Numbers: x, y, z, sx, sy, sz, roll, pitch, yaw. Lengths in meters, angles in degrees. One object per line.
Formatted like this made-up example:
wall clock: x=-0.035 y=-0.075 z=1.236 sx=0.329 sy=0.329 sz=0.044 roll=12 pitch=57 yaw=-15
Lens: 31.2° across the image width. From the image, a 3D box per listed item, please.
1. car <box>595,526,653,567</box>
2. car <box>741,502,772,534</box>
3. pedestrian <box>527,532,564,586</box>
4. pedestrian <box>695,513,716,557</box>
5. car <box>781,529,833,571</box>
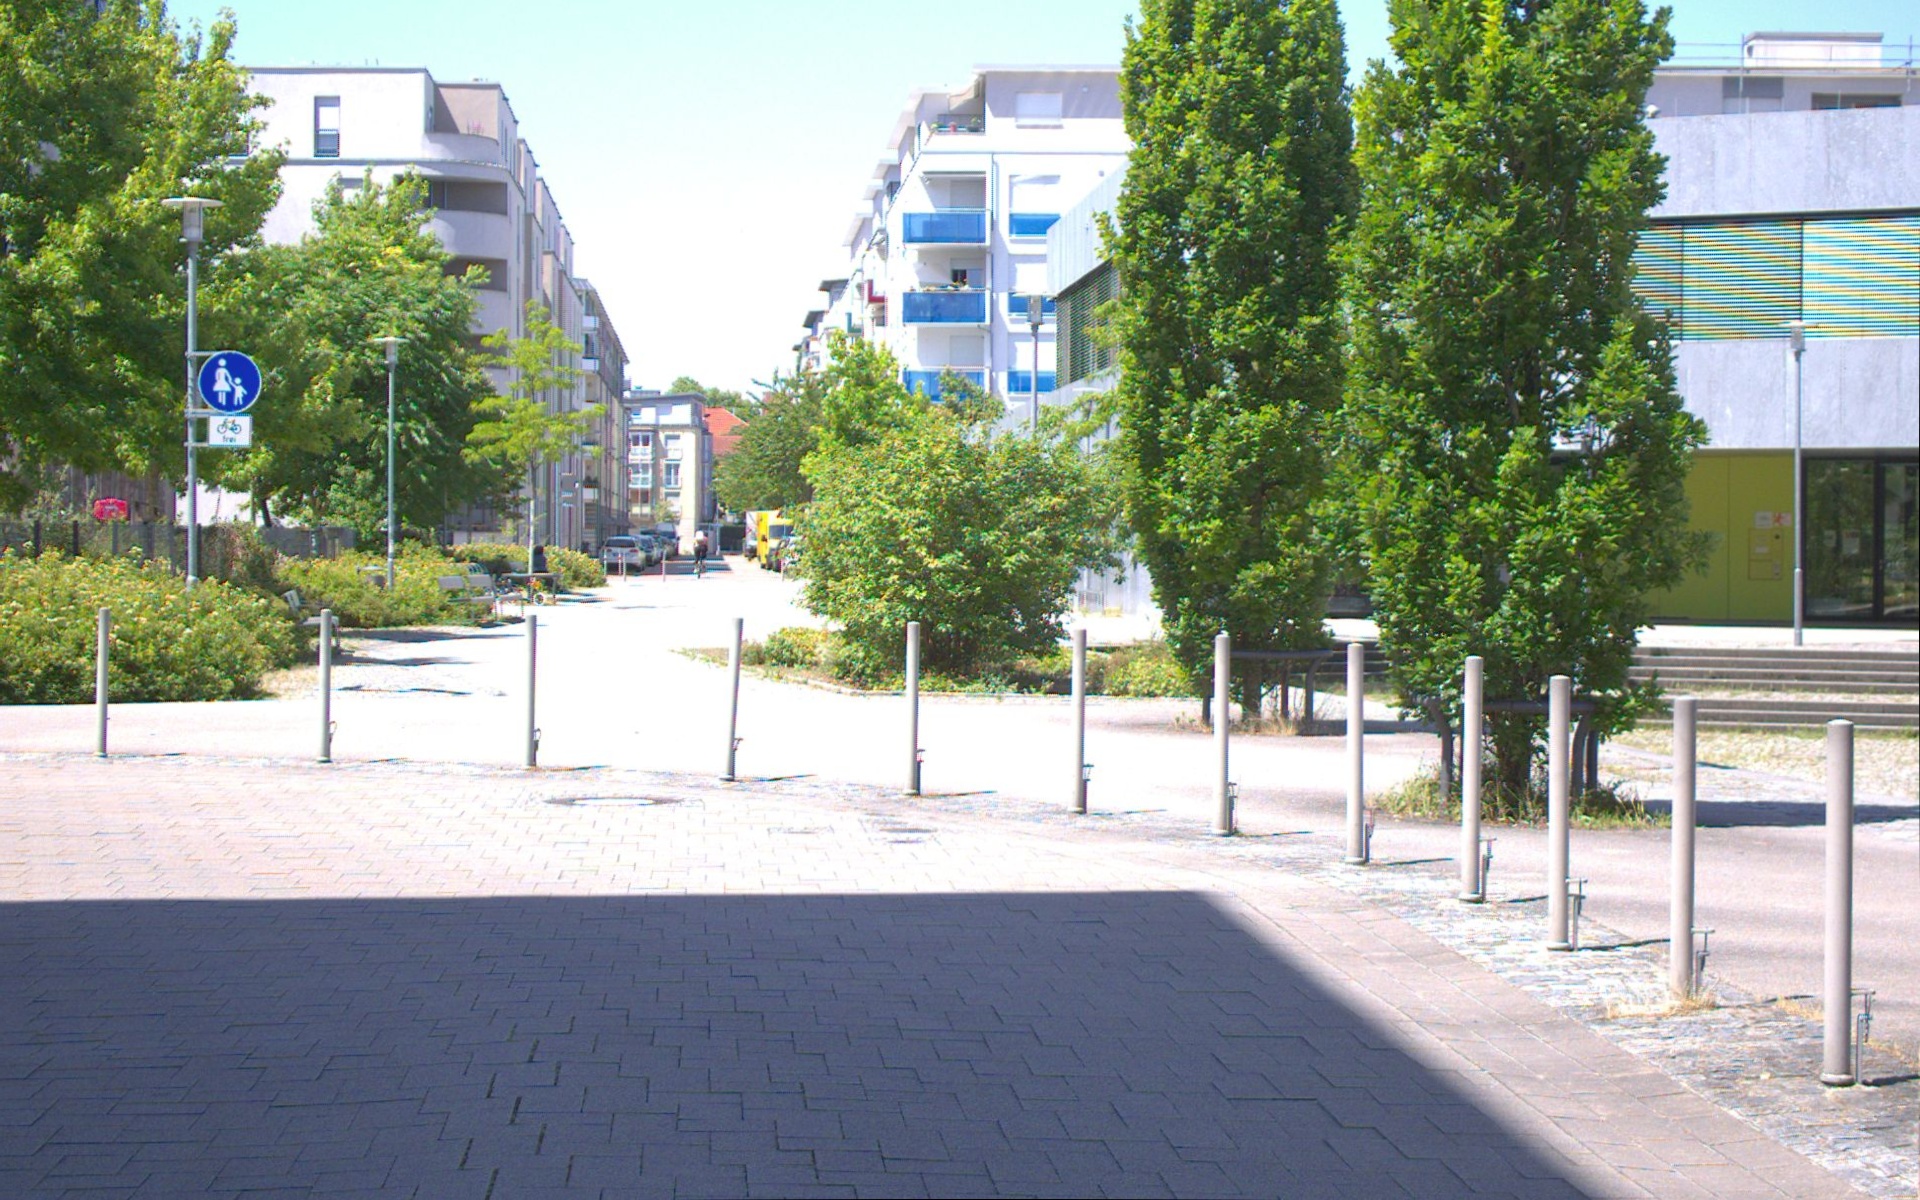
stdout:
car: x=-13.961 y=-2.210 z=142.988 sx=2.146 sy=1.646 sz=4.089 roll=1 pitch=1 yaw=-3
car: x=-13.641 y=-5.476 z=229.901 sx=1.993 sy=2.007 sz=4.001 roll=1 pitch=1 yaw=-4
pedestrian: x=-10.415 y=-1.023 z=86.425 sx=0.847 sy=1.343 sz=0.696 roll=1 pitch=1 yaw=-4
pedestrian: x=-8.952 y=-2.289 z=120.976 sx=0.694 sy=1.524 sz=0.599 roll=1 pitch=1 yaw=-2
car: x=-5.995 y=-1.955 z=134.797 sx=1.993 sy=1.604 sz=4.000 roll=1 pitch=1 yaw=-2
